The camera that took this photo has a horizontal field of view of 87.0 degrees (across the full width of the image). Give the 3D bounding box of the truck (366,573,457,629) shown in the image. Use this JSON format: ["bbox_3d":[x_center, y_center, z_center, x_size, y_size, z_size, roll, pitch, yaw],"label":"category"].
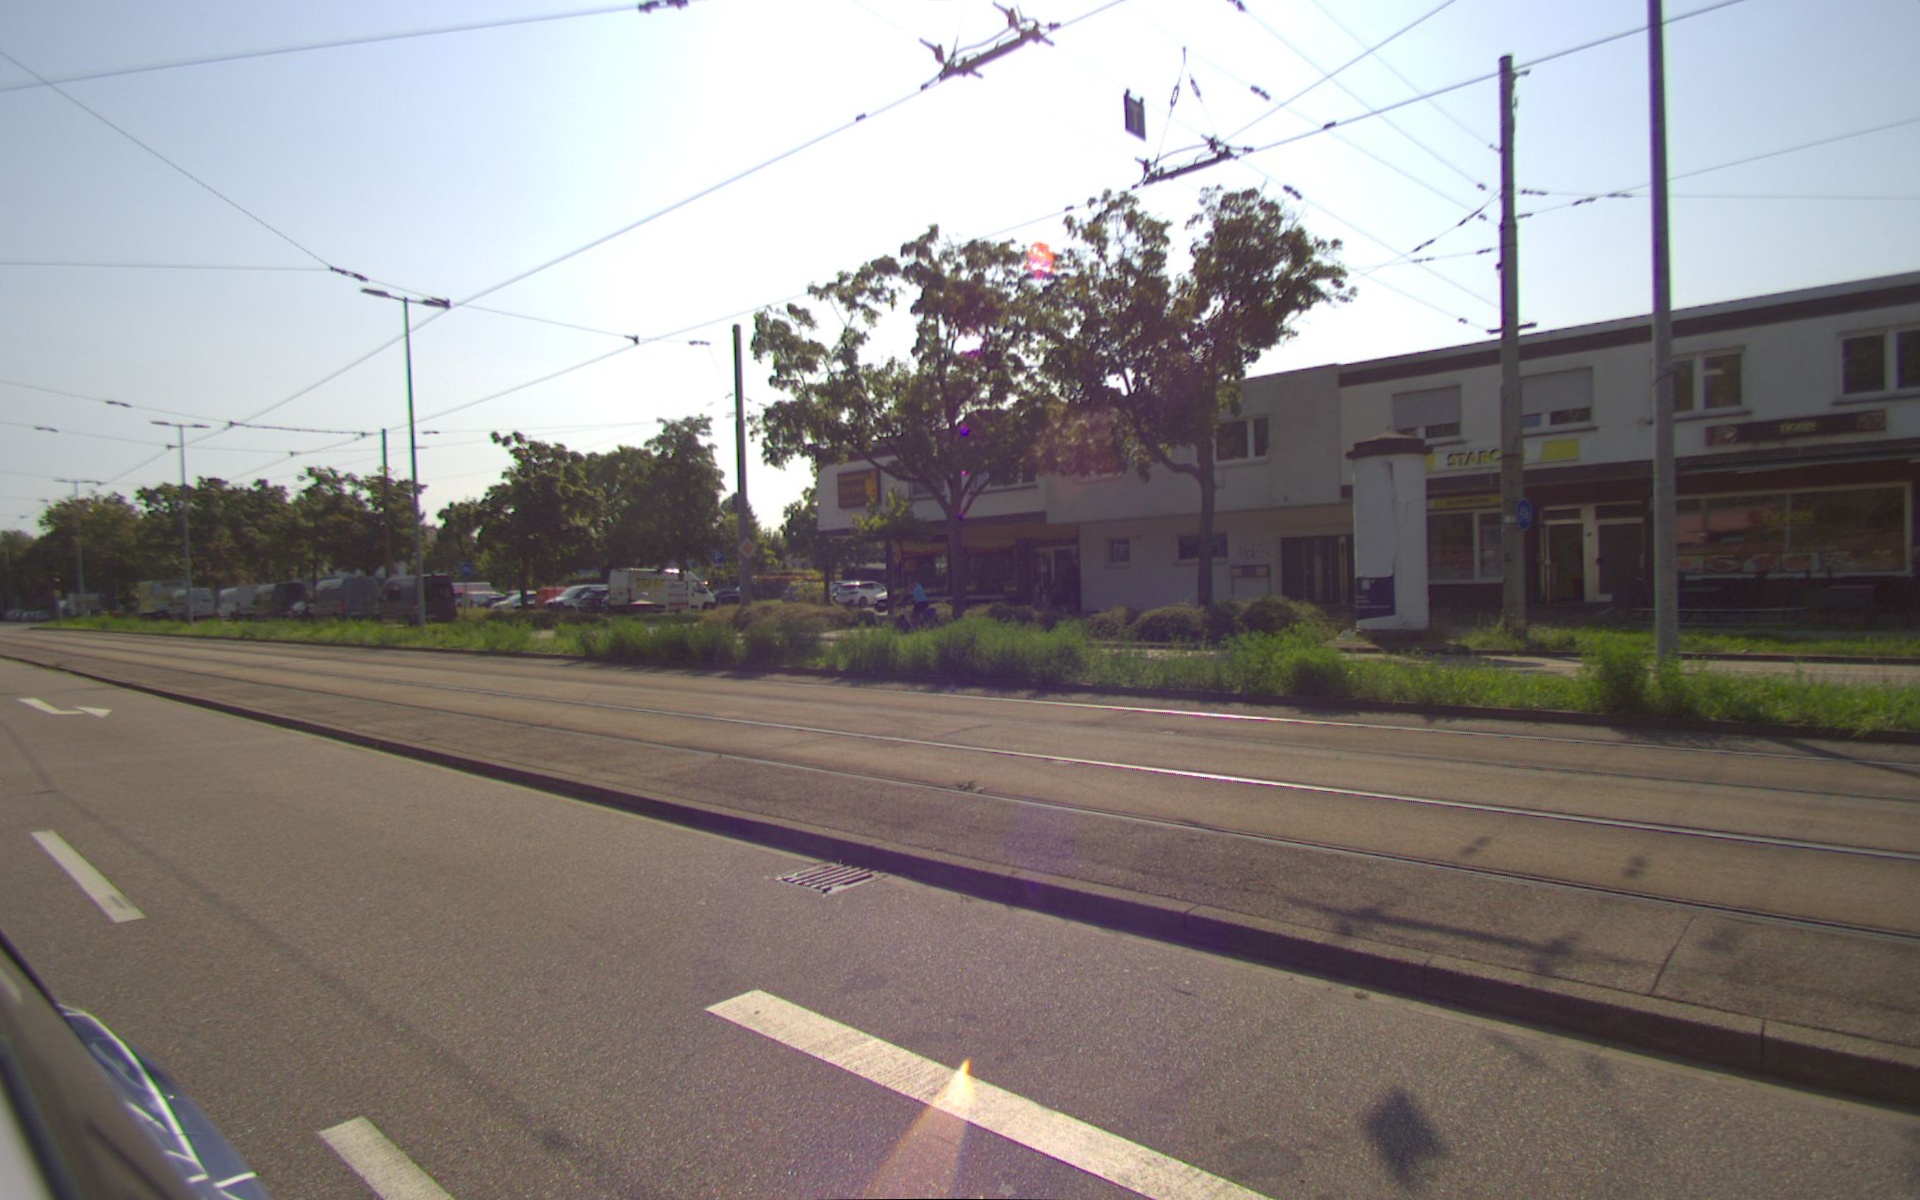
[{"bbox_3d":[-26.994,0.066,49.708,5.736,2.567,2.059,-1,0,41],"label":"truck"}]

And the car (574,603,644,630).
[{"bbox_3d":[-19.727,0.912,56.956,1.632,1.437,3.370,-1,0,40],"label":"car"}]

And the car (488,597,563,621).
[{"bbox_3d":[-27.644,0.560,64.480,1.624,1.474,4.113,-1,0,41],"label":"car"}]

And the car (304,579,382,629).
[{"bbox_3d":[-34.398,0.218,56.333,6.468,2.605,1.967,-1,2,44],"label":"car"}]

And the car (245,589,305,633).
[{"bbox_3d":[-43.728,0.697,64.543,5.909,2.605,1.803,-1,2,43],"label":"car"}]

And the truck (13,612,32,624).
[{"bbox_3d":[-130.800,2.477,141.169,3.654,1.687,1.669,-1,0,42],"label":"truck"}]

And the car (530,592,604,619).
[{"bbox_3d":[-23.777,0.326,61.268,1.632,1.530,3.883,-1,0,40],"label":"car"}]

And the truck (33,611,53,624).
[{"bbox_3d":[-122.310,2.359,134.952,3.654,1.687,1.669,-1,0,42],"label":"truck"}]

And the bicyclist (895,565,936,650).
[{"bbox_3d":[-1.111,0.184,25.136,0.773,2.080,0.631,-1,0,37],"label":"bicyclist"}]

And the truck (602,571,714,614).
[{"bbox_3d":[-16.104,-0.370,54.254,2.258,2.189,5.434,-1,0,40],"label":"truck"}]

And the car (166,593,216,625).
[{"bbox_3d":[-60.512,0.695,79.606,4.829,2.477,2.121,-1,0,40],"label":"car"}]

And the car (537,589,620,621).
[{"bbox_3d":[-22.181,0.271,58.963,1.632,1.798,4.354,-1,0,40],"label":"car"}]

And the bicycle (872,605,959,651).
[{"bbox_3d":[-1.124,0.677,25.127,2.263,1.099,0.708,-1,0,39],"label":"bicycle"}]

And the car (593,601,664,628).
[{"bbox_3d":[-18.221,0.798,55.725,1.632,1.437,3.370,-1,0,40],"label":"car"}]

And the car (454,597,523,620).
[{"bbox_3d":[-31.613,0.555,67.963,1.632,1.461,3.883,-1,0,40],"label":"car"}]

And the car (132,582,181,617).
[{"bbox_3d":[-67.887,0.002,85.491,7.229,2.826,2.102,-1,0,42],"label":"car"}]

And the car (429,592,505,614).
[{"bbox_3d":[-35.064,0.202,72.100,1.632,1.461,4.606,-1,0,40],"label":"car"}]

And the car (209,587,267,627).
[{"bbox_3d":[-49.860,0.489,69.881,5.629,2.606,2.110,-1,0,42],"label":"car"}]

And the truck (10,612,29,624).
[{"bbox_3d":[-133.535,2.544,143.645,3.654,1.687,1.669,-1,0,42],"label":"truck"}]

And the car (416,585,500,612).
[{"bbox_3d":[-36.979,-0.132,74.647,2.051,1.940,5.132,-1,0,40],"label":"car"}]

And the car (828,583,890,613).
[{"bbox_3d":[-6.110,-0.146,61.590,1.874,1.513,3.414,2,5,38],"label":"car"}]

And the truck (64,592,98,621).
[{"bbox_3d":[-99.782,0.783,114.815,8.790,3.145,2.247,-1,0,44],"label":"truck"}]

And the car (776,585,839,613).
[{"bbox_3d":[-9.902,-0.077,65.805,3.758,1.782,1.760,0,0,-44],"label":"car"}]

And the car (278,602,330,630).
[{"bbox_3d":[-39.226,0.943,60.475,3.835,1.563,1.725,-1,2,44],"label":"car"}]
